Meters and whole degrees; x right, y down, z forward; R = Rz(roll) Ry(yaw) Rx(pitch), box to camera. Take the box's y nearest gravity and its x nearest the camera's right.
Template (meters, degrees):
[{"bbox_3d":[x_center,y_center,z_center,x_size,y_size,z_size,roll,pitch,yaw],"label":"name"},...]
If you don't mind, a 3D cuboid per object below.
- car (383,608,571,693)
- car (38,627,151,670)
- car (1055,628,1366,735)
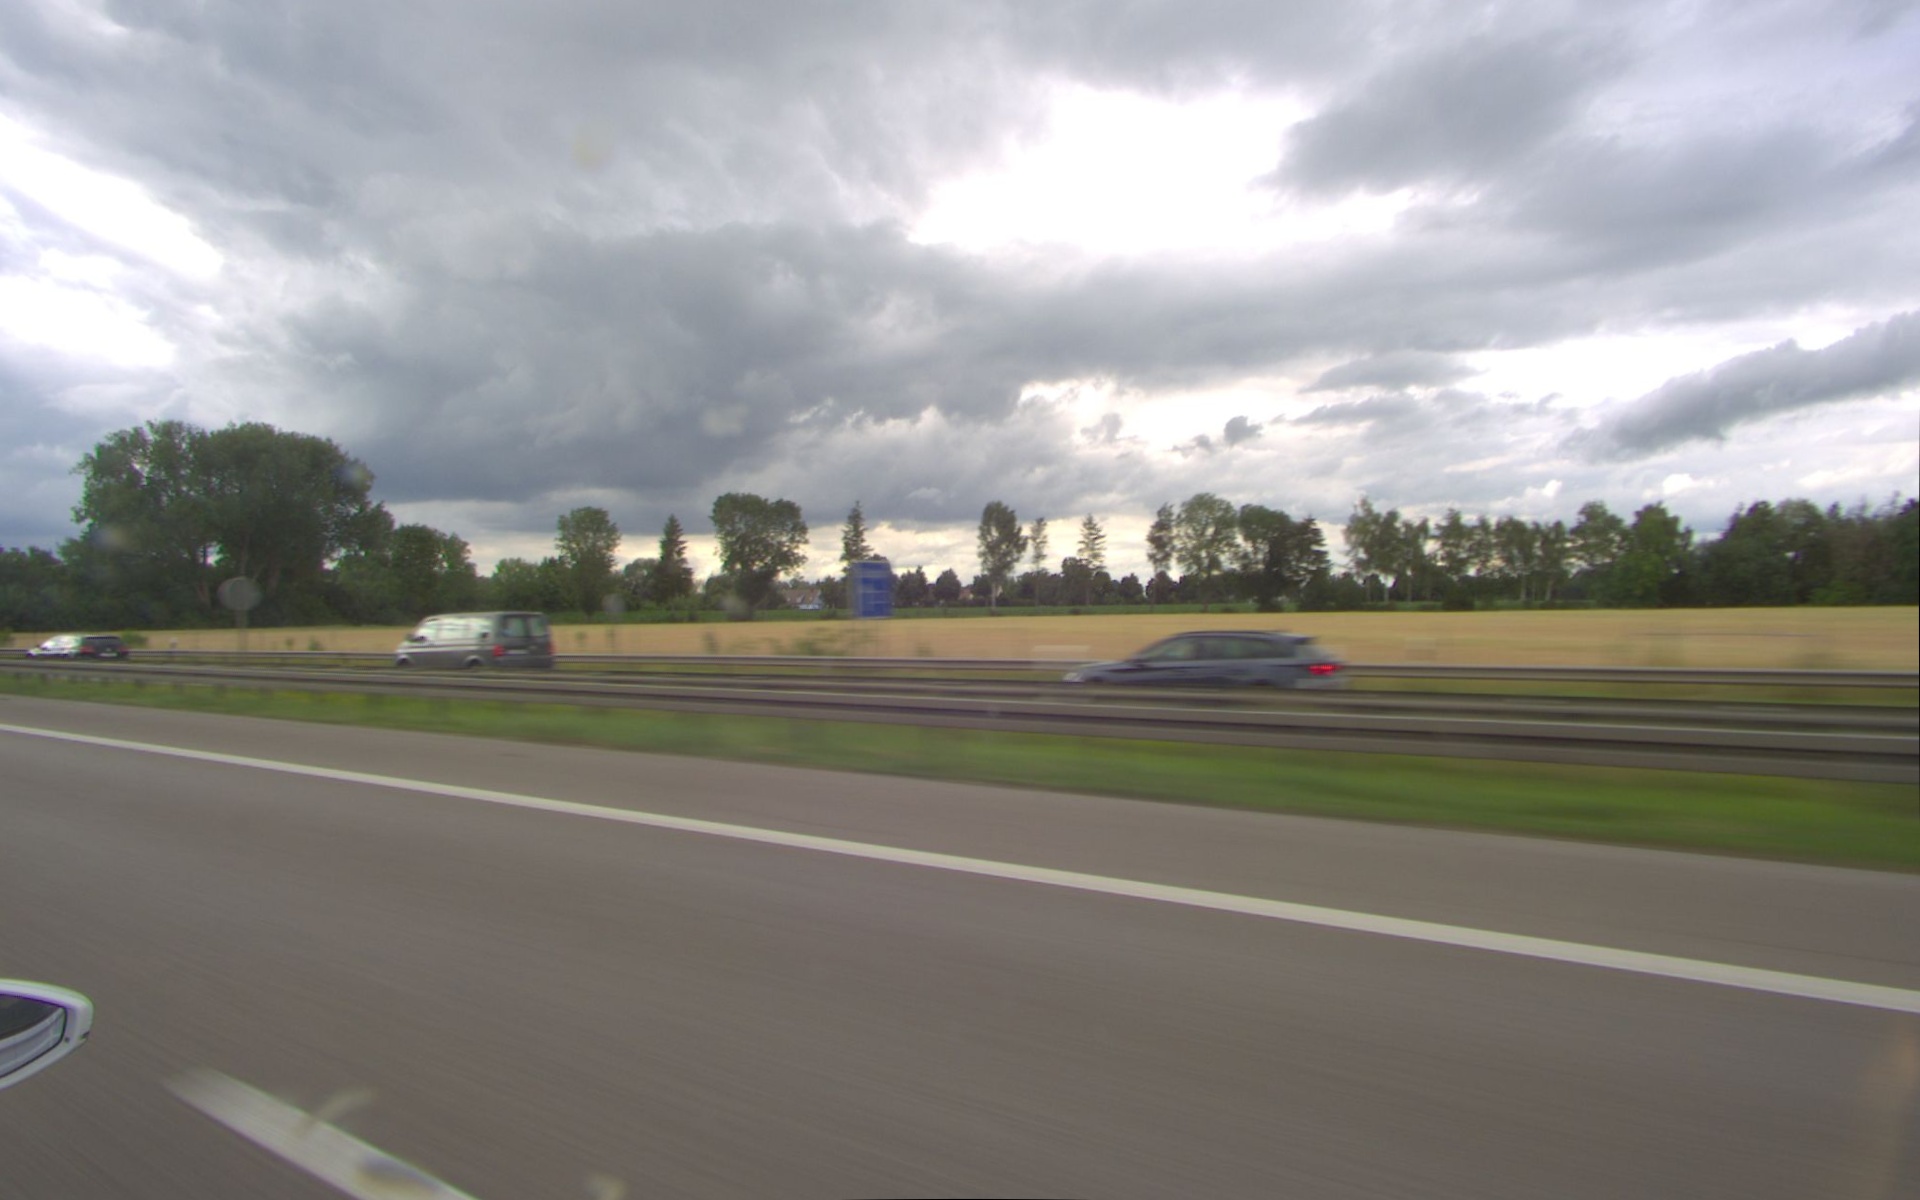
[{"bbox_3d":[-12.968,1.304,26.824,4.882,2.089,2.142,-1,-1,29],"label":"car"},{"bbox_3d":[-34.256,1.877,39.607,4.851,1.571,1.915,-1,0,30],"label":"car"},{"bbox_3d":[3.944,1.209,15.999,4.525,1.503,1.748,-1,-2,30],"label":"car"}]
